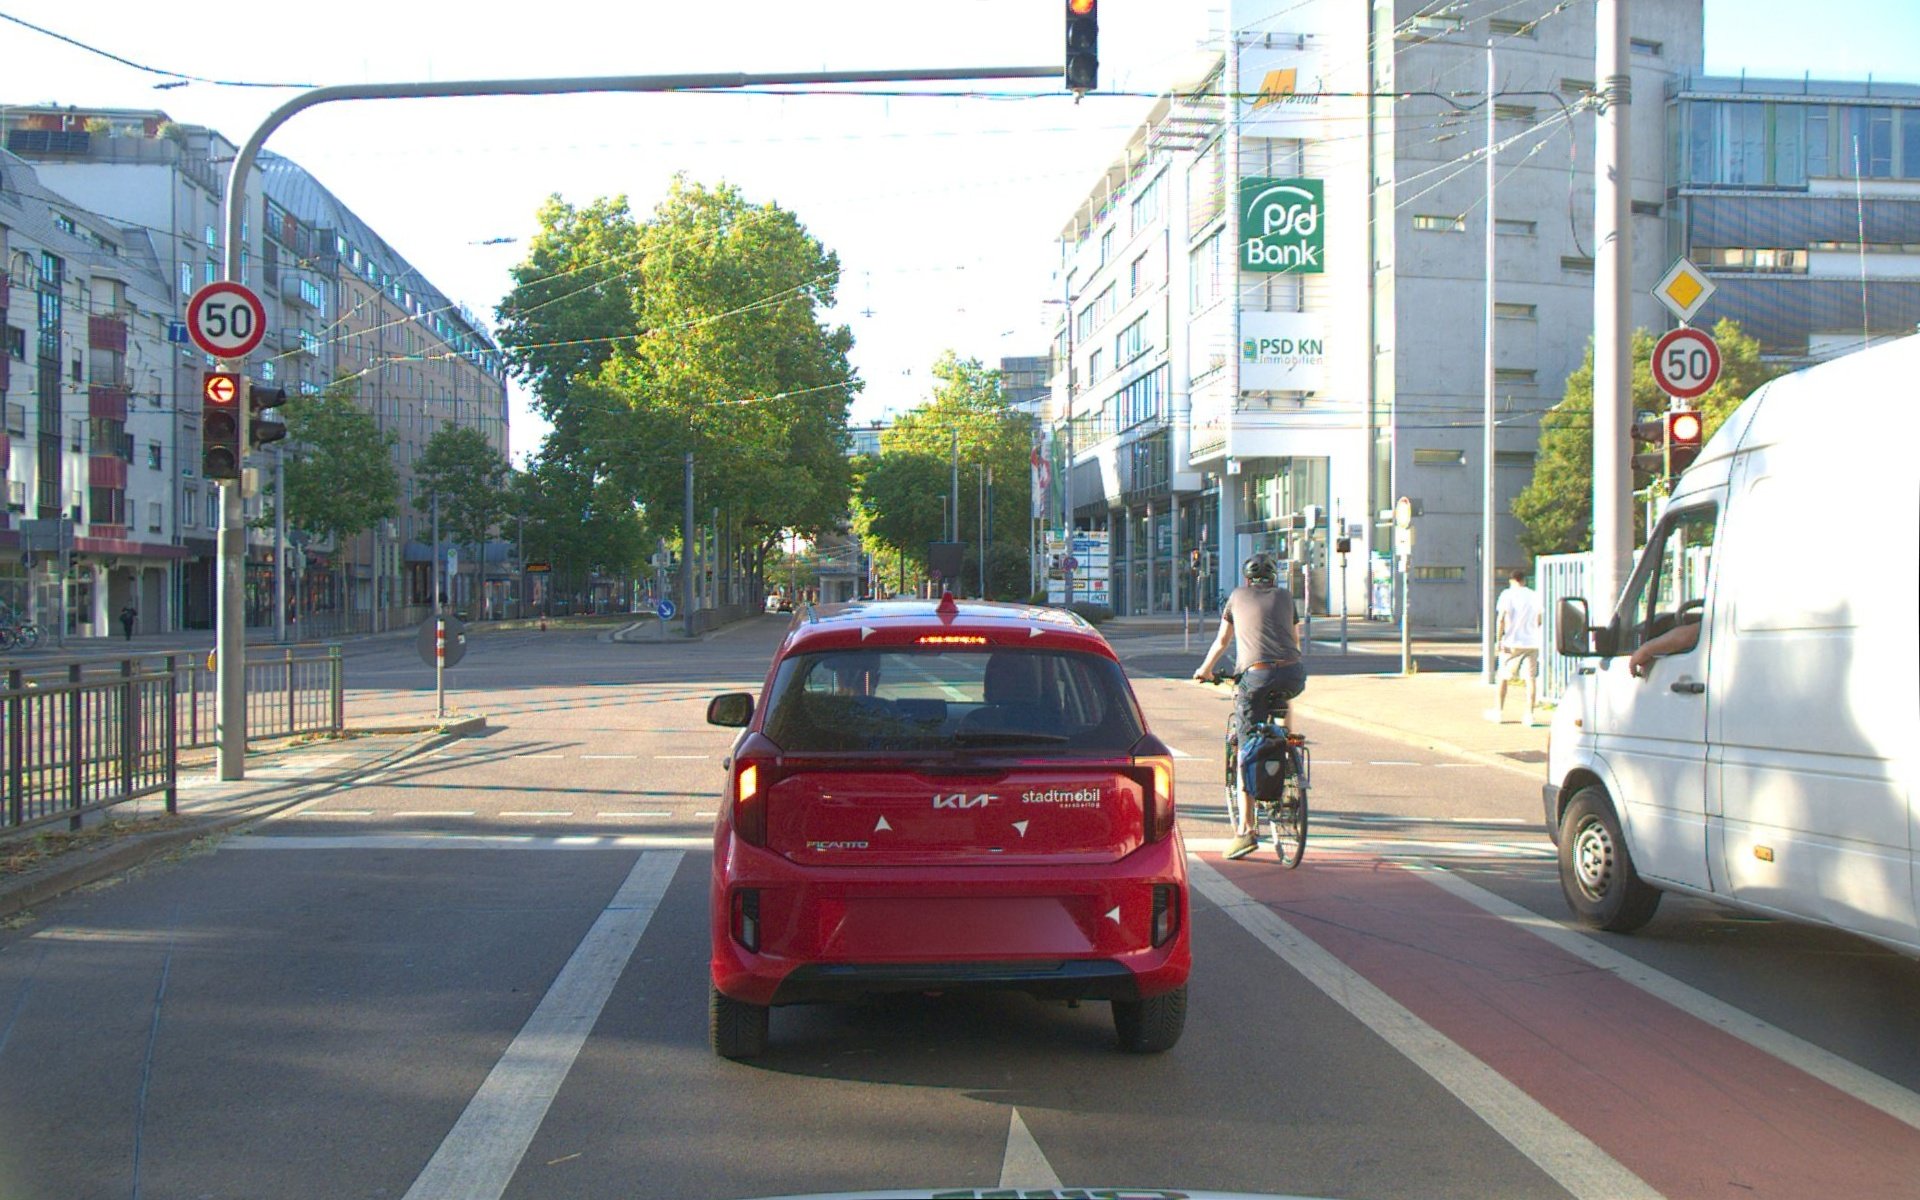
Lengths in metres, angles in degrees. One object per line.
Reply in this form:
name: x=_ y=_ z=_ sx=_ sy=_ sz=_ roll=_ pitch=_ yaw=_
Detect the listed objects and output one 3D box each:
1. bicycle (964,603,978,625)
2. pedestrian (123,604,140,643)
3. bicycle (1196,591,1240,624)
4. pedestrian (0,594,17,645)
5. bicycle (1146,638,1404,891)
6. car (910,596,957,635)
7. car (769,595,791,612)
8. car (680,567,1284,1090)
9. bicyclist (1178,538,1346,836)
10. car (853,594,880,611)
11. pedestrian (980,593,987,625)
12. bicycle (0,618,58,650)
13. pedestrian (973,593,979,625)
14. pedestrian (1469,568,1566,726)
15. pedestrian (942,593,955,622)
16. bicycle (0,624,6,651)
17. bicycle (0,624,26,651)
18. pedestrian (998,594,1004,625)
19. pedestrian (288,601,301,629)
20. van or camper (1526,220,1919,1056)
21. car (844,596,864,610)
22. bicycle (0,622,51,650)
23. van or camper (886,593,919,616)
bicycle: x=0.618 y=0.792 z=92.777 sx=0.776 sy=1.182 sz=2.500 roll=0 pitch=0 yaw=1
pedestrian: x=-32.149 y=0.920 z=64.186 sx=0.502 sy=1.484 sz=0.526 roll=-1 pitch=0 yaw=-15
bicycle: x=11.714 y=0.341 z=75.154 sx=1.898 sy=1.468 sz=0.574 roll=0 pitch=0 yaw=-7
pedestrian: x=-32.571 y=0.679 z=56.448 sx=0.500 sy=1.728 sz=0.527 roll=-1 pitch=0 yaw=-8
bicycle: x=1.786 y=0.893 z=9.781 sx=0.730 sy=1.245 sz=2.150 roll=1 pitch=1 yaw=-11
car: x=-1.148 y=0.633 z=69.813 sx=1.806 sy=1.595 sz=4.271 roll=-1 pitch=0 yaw=-3
car: x=-19.075 y=0.345 z=174.998 sx=2.020 sy=1.682 sz=3.483 roll=-1 pitch=0 yaw=-11
car: x=-0.087 y=0.657 z=6.779 sx=1.804 sy=1.515 sz=3.712 roll=0 pitch=0 yaw=-5
bicyclist: x=1.787 y=0.498 z=9.869 sx=0.730 sy=1.698 sz=0.742 roll=1 pitch=0 yaw=-12
car: x=-9.418 y=0.248 z=166.945 sx=2.431 sy=1.555 sz=4.424 roll=-1 pitch=0 yaw=-7
pedestrian: x=1.203 y=0.465 z=84.281 sx=0.288 sy=1.589 sz=0.355 roll=-1 pitch=0 yaw=-3
bicycle: x=-29.716 y=1.083 z=52.211 sx=2.129 sy=0.967 sz=0.491 roll=-1 pitch=0 yaw=-9
pedestrian: x=0.833 y=0.462 z=84.275 sx=0.288 sy=1.589 sz=0.302 roll=-1 pitch=0 yaw=-1
pedestrian: x=6.471 y=0.534 z=19.231 sx=0.772 sy=1.779 sz=0.770 roll=-1 pitch=0 yaw=-11
pedestrian: x=-0.679 y=0.471 z=100.069 sx=0.728 sy=1.746 sz=0.748 roll=0 pitch=0 yaw=-3
bicycle: x=-29.788 y=1.146 z=49.429 sx=2.129 sy=0.801 sz=0.639 roll=-1 pitch=0 yaw=-9
bicycle: x=-29.610 y=1.149 z=50.188 sx=2.129 sy=0.801 sz=0.491 roll=-1 pitch=0 yaw=-9
pedestrian: x=2.105 y=0.470 z=84.129 sx=0.288 sy=1.589 sz=0.314 roll=-1 pitch=0 yaw=1
pedestrian: x=-35.382 y=0.809 z=87.887 sx=0.500 sy=1.484 sz=0.527 roll=-1 pitch=0 yaw=-8
van or camper: x=4.315 y=0.151 z=5.449 sx=2.224 sy=2.781 sz=6.340 roll=2 pitch=0 yaw=-5
car: x=-11.715 y=0.301 z=183.076 sx=1.850 sy=1.555 sz=4.423 roll=-1 pitch=0 yaw=-8
bicycle: x=-29.609 y=1.118 z=51.576 sx=2.129 sy=0.838 sz=0.527 roll=-1 pitch=0 yaw=-9
van or camper: x=-4.592 y=0.346 z=132.026 sx=2.105 sy=1.781 sz=4.423 roll=-1 pitch=0 yaw=-8
